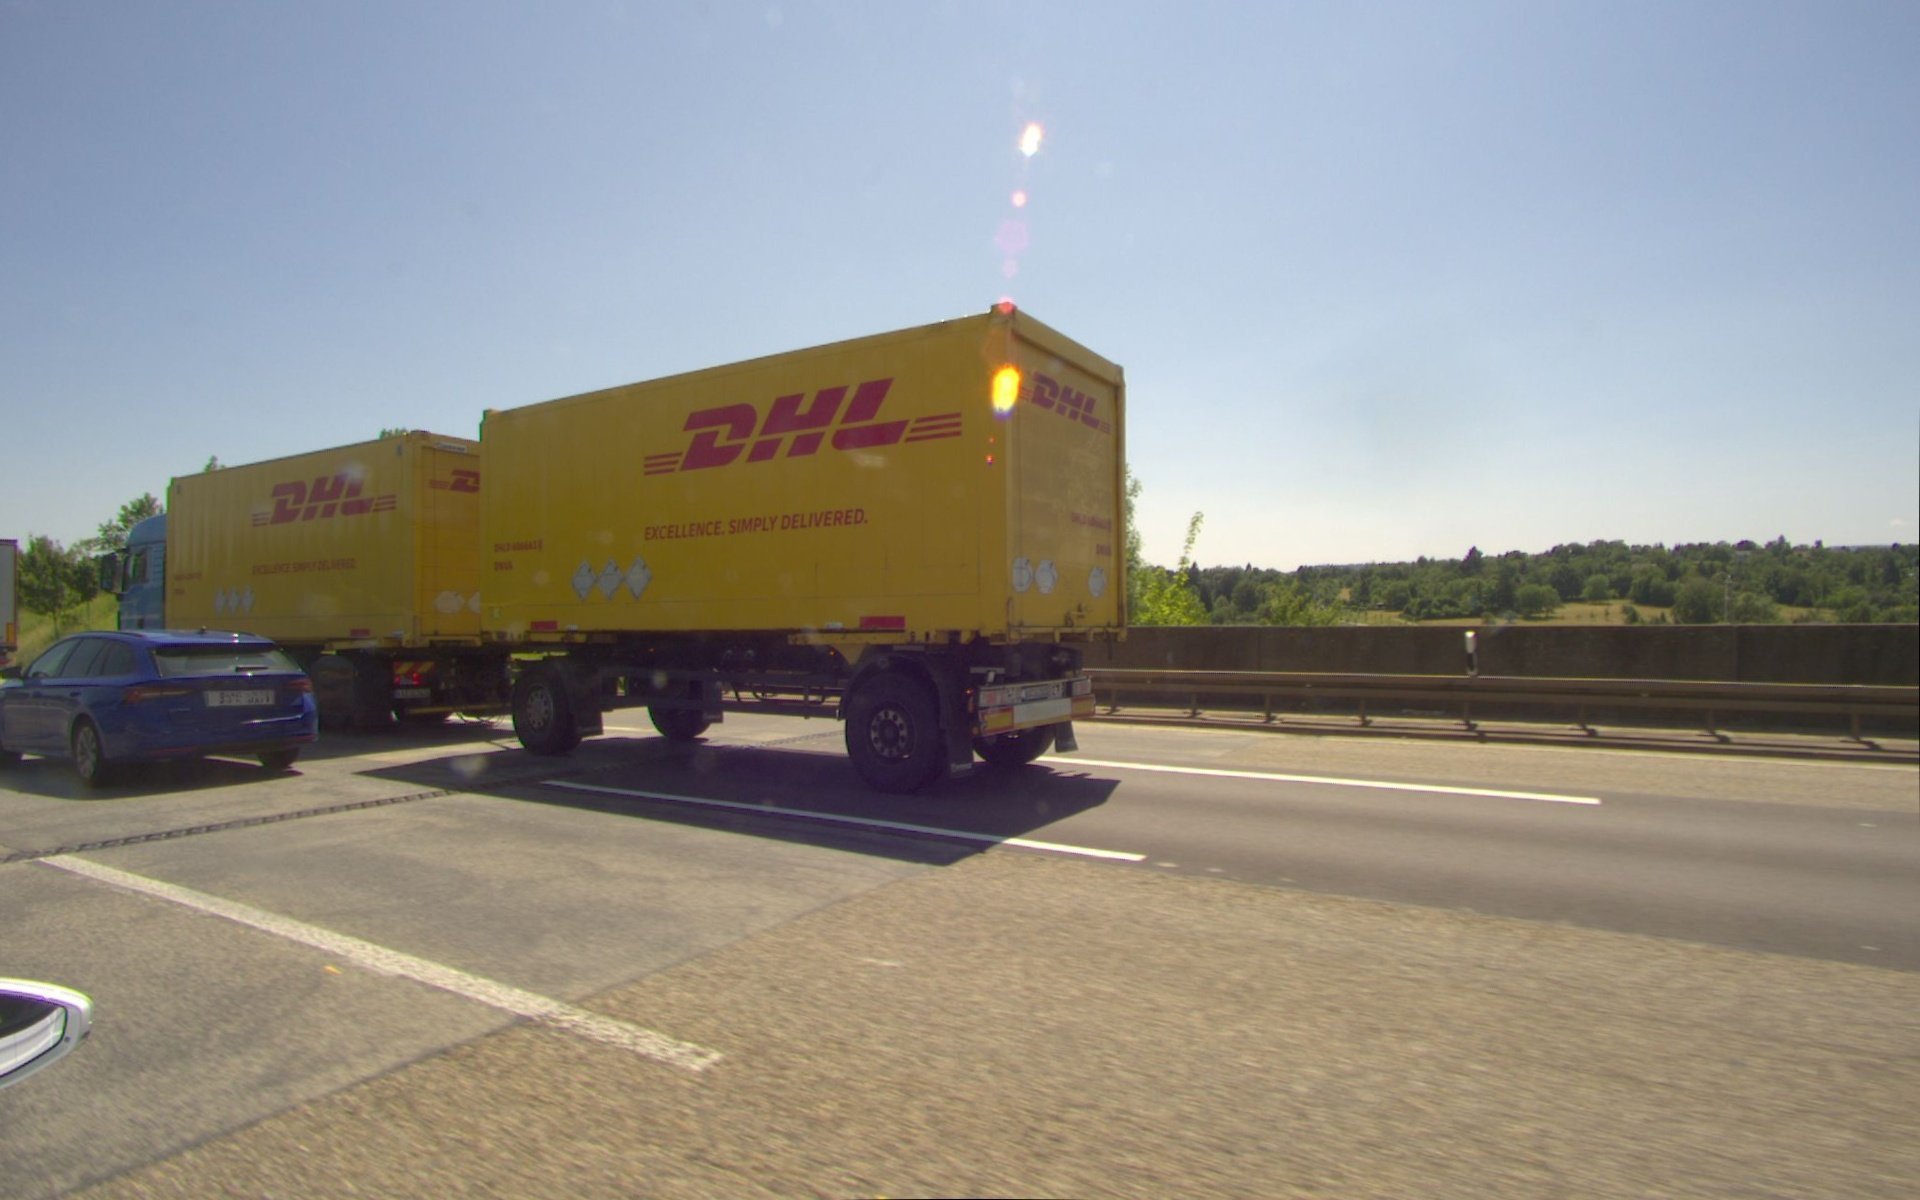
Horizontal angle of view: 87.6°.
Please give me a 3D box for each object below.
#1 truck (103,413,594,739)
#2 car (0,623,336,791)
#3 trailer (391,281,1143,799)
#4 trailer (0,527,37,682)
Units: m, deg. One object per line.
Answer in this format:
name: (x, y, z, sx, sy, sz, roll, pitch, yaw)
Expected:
truck: (-10.424, -0.171, 16.517, 9.809, 4.161, 2.761, -1, -2, 32)
car: (-8.648, 1.026, 10.623, 4.364, 1.459, 1.704, -2, -3, 32)
trailer: (-2.732, -0.356, 11.693, 9.243, 4.169, 2.761, -1, -2, 32)
trailer: (-31.509, 0.228, 29.375, 13.552, 4.101, 2.958, -1, -1, 32)
